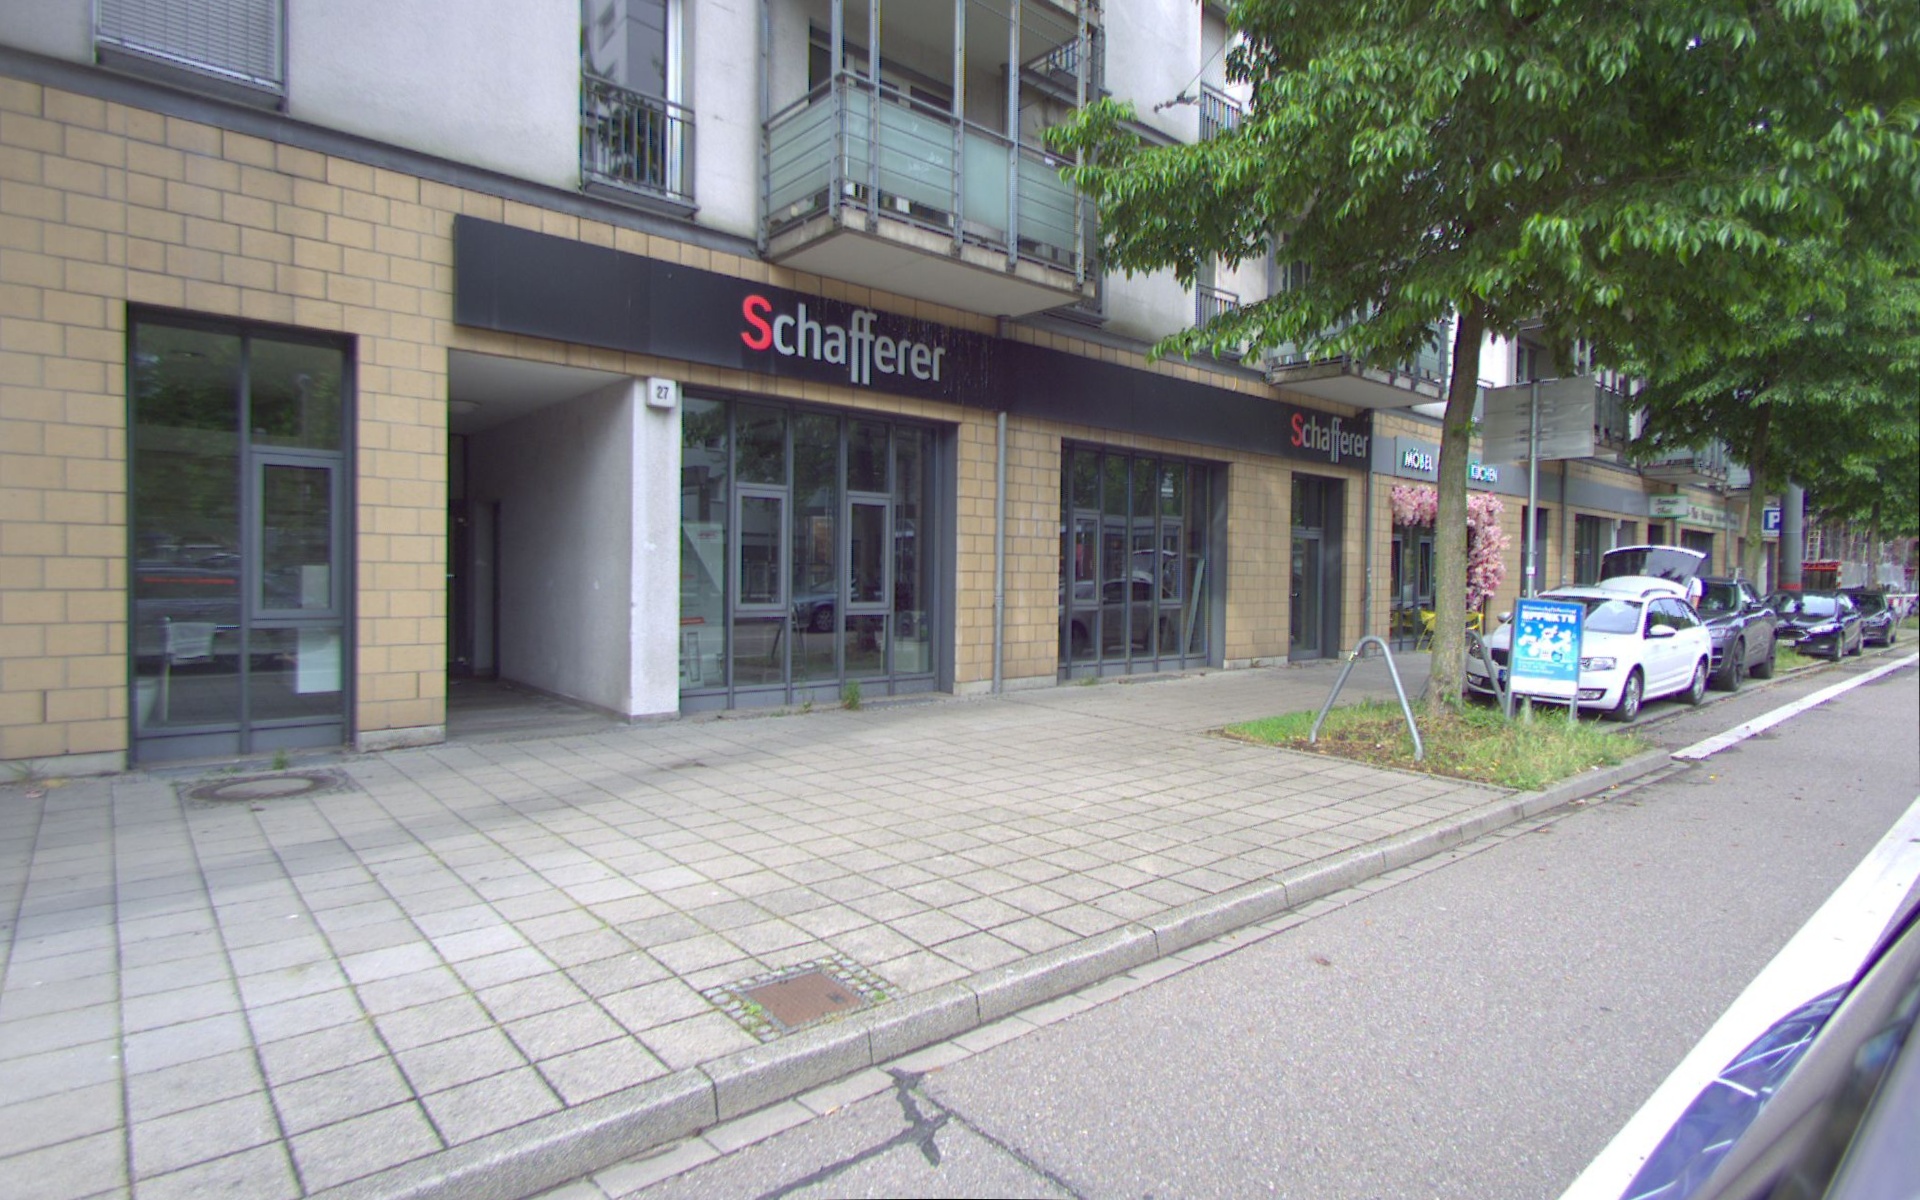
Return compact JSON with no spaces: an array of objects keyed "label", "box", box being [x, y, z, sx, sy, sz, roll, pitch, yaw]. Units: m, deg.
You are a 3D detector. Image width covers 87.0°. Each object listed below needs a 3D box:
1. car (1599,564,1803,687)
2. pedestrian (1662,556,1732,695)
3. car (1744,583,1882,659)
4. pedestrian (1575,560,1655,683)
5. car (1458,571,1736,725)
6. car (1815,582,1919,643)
[{"label":"car","box":[11.796,0.316,16.033,3.732,1.630,1.738,-1,5,-41]},{"label":"pedestrian","box":[10.399,0.336,14.285,0.588,1.907,0.656,0,1,-40]},{"label":"car","box":[18.637,0.384,22.049,4.095,1.394,1.612,-1,5,-41]},{"label":"pedestrian","box":[9.622,0.297,14.873,0.606,1.737,0.739,0,3,-34]},{"label":"car","box":[8.124,0.472,12.760,4.233,1.539,1.738,-1,5,-41]},{"label":"car","box":[24.158,0.285,26.875,3.603,1.417,1.612,-1,5,-41]}]
